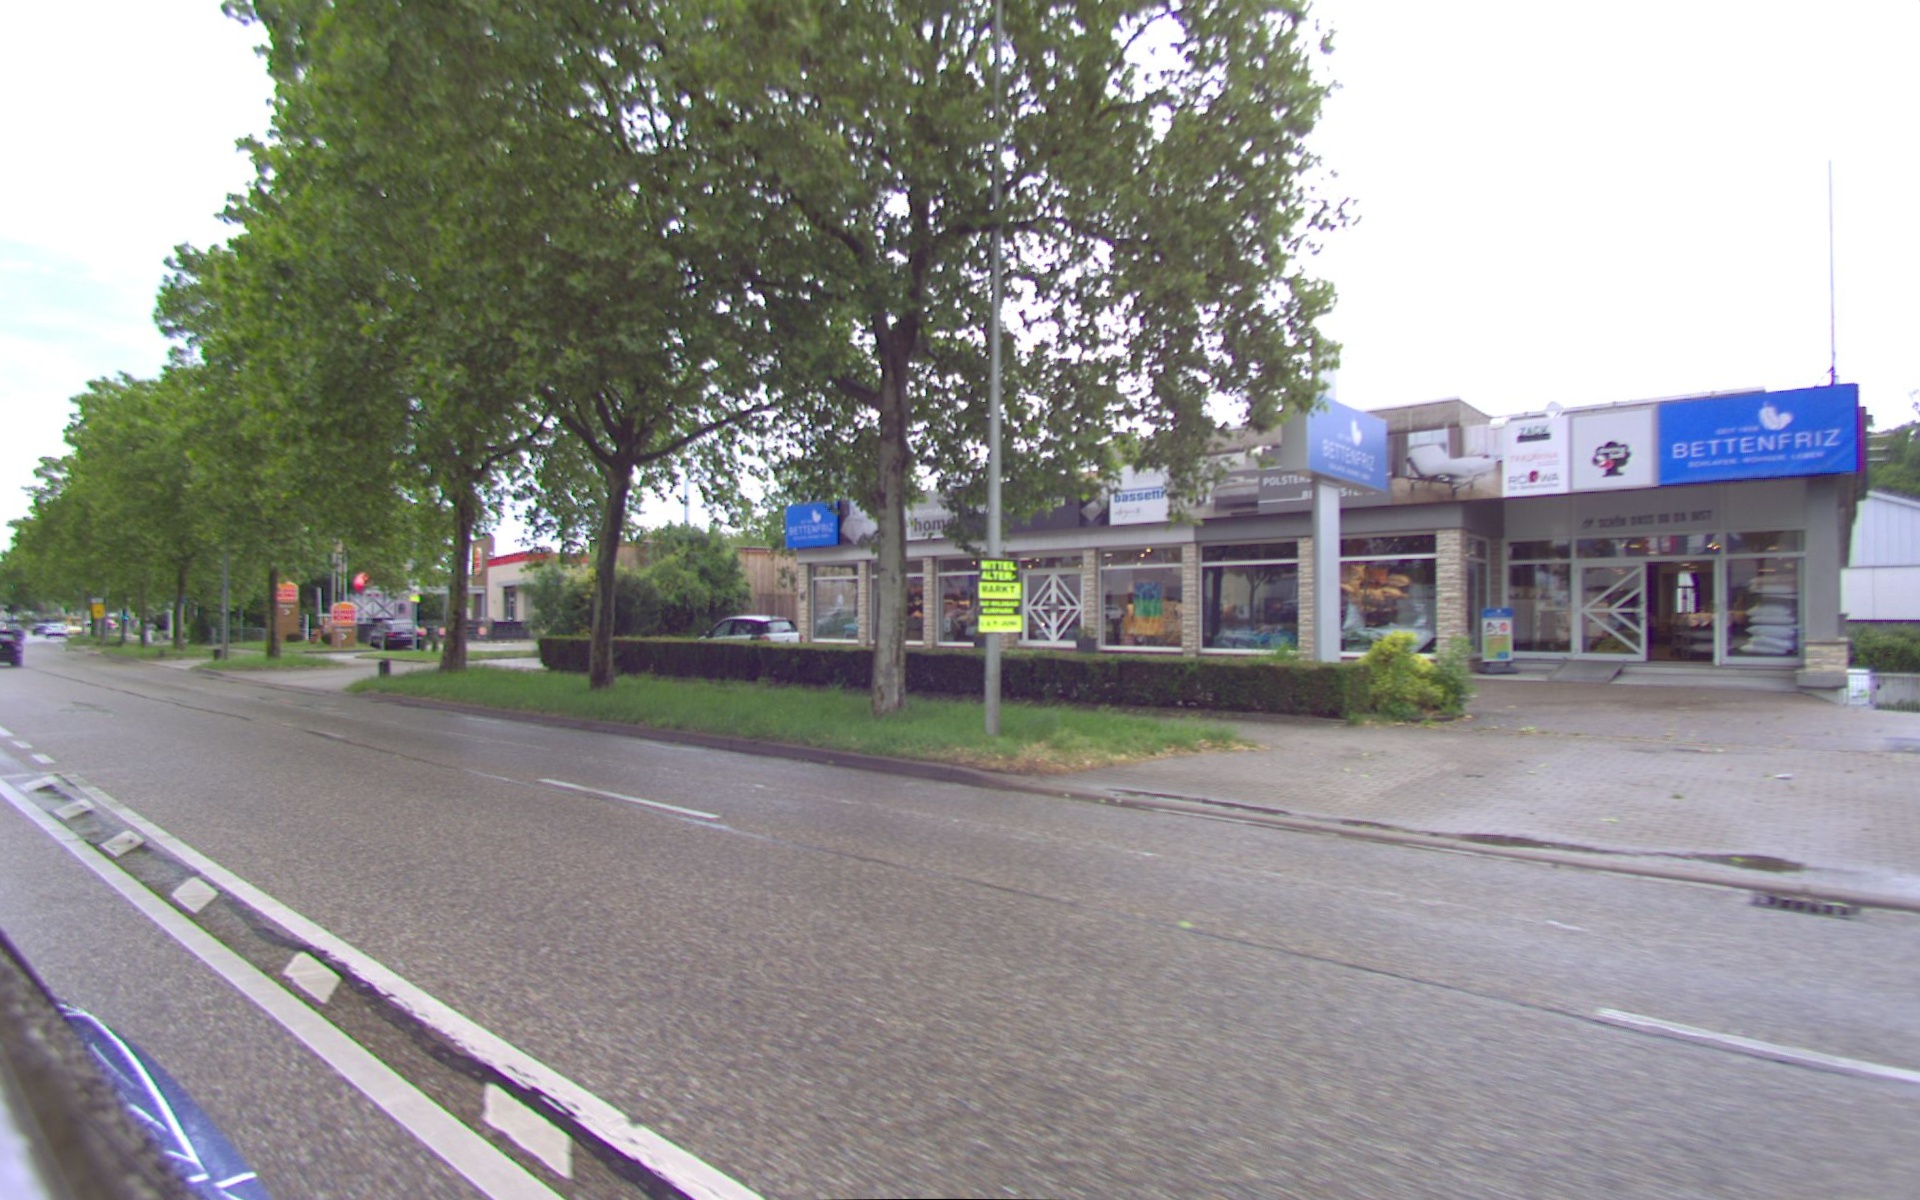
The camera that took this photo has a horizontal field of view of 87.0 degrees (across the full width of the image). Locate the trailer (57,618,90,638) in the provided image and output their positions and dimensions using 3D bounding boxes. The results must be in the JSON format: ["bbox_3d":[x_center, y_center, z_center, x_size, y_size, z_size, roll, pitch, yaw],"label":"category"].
[{"bbox_3d":[-124.153,3.968,141.736,2.272,2.493,7.993,0,-2,-32],"label":"trailer"}]

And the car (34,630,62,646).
[{"bbox_3d":[-100.374,4.192,111.382,4.399,1.632,1.907,-1,-3,43],"label":"car"}]

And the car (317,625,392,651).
[{"bbox_3d":[-31.016,1.946,51.858,3.135,1.164,1.292,-2,-1,-41],"label":"car"}]

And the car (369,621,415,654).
[{"bbox_3d":[-28.509,1.853,50.780,1.416,1.437,3.197,0,1,-40],"label":"car"}]

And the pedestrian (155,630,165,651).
[{"bbox_3d":[-64.323,3.253,81.395,0.540,1.696,0.506,-2,-4,44],"label":"pedestrian"}]

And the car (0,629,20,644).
[{"bbox_3d":[-100.979,3.818,107.137,1.969,1.520,4.736,3,-4,-42],"label":"car"}]

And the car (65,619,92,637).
[{"bbox_3d":[-126.452,4.001,145.230,2.209,2.493,5.029,0,-2,-32],"label":"car"}]

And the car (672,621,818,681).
[{"bbox_3d":[-5.813,1.344,27.203,3.937,1.497,1.805,-1,-3,40],"label":"car"}]

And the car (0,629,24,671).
[{"bbox_3d":[-35.846,1.813,37.197,3.845,1.474,1.784,-2,-4,43],"label":"car"}]

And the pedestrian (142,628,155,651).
[{"bbox_3d":[-64.951,3.159,81.023,0.655,1.780,0.585,0,-2,-25],"label":"pedestrian"}]

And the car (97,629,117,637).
[{"bbox_3d":[-152.010,5.886,180.338,1.758,1.415,4.013,2,-3,-26],"label":"car"}]
